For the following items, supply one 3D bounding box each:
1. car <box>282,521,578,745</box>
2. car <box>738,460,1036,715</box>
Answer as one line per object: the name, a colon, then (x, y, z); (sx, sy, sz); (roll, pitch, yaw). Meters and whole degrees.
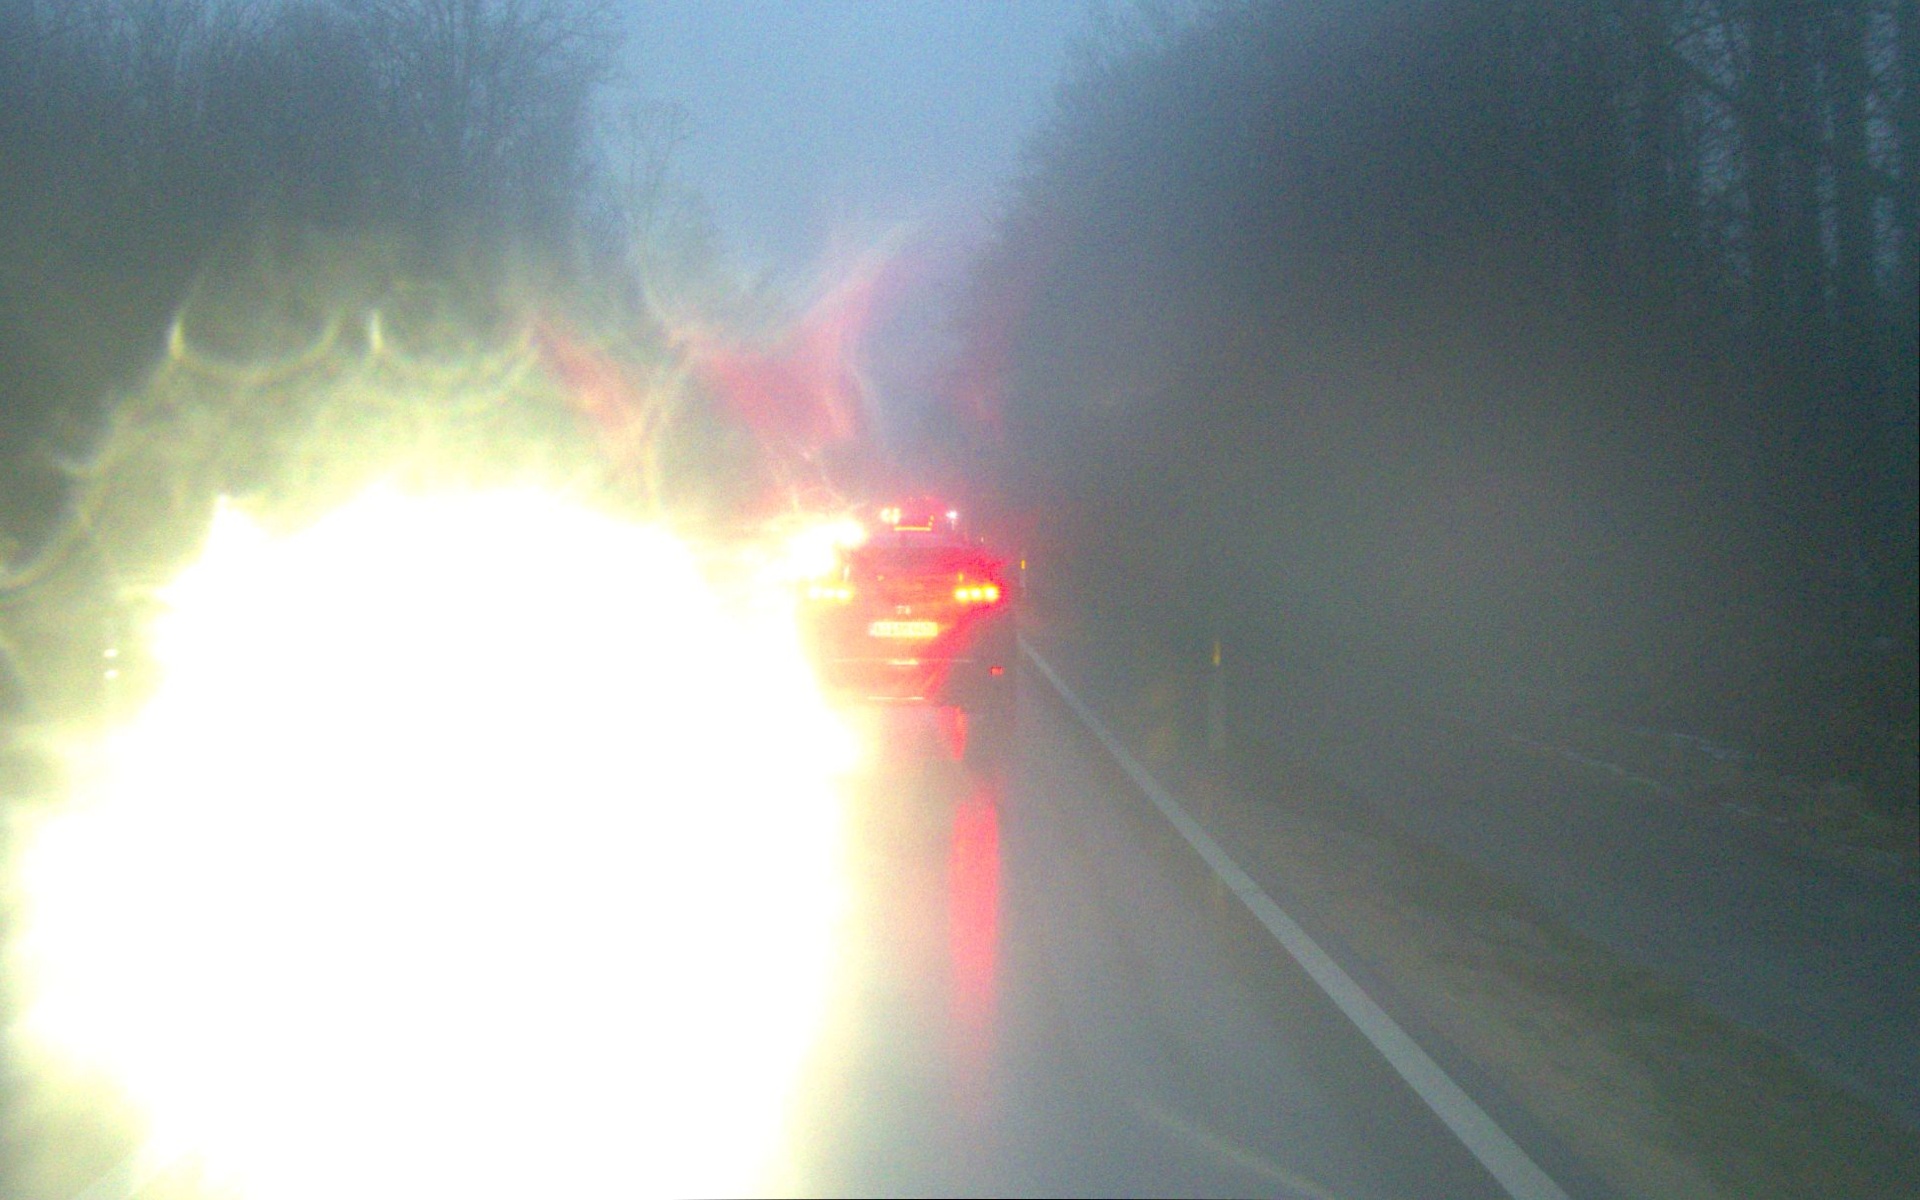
car: (-3.947, 0.189, 26.173); (1.748, 1.547, 3.994); (0, 2, -2)
car: (-0.591, -0.156, 28.032); (2.198, 1.871, 4.827); (1, 1, -1)
